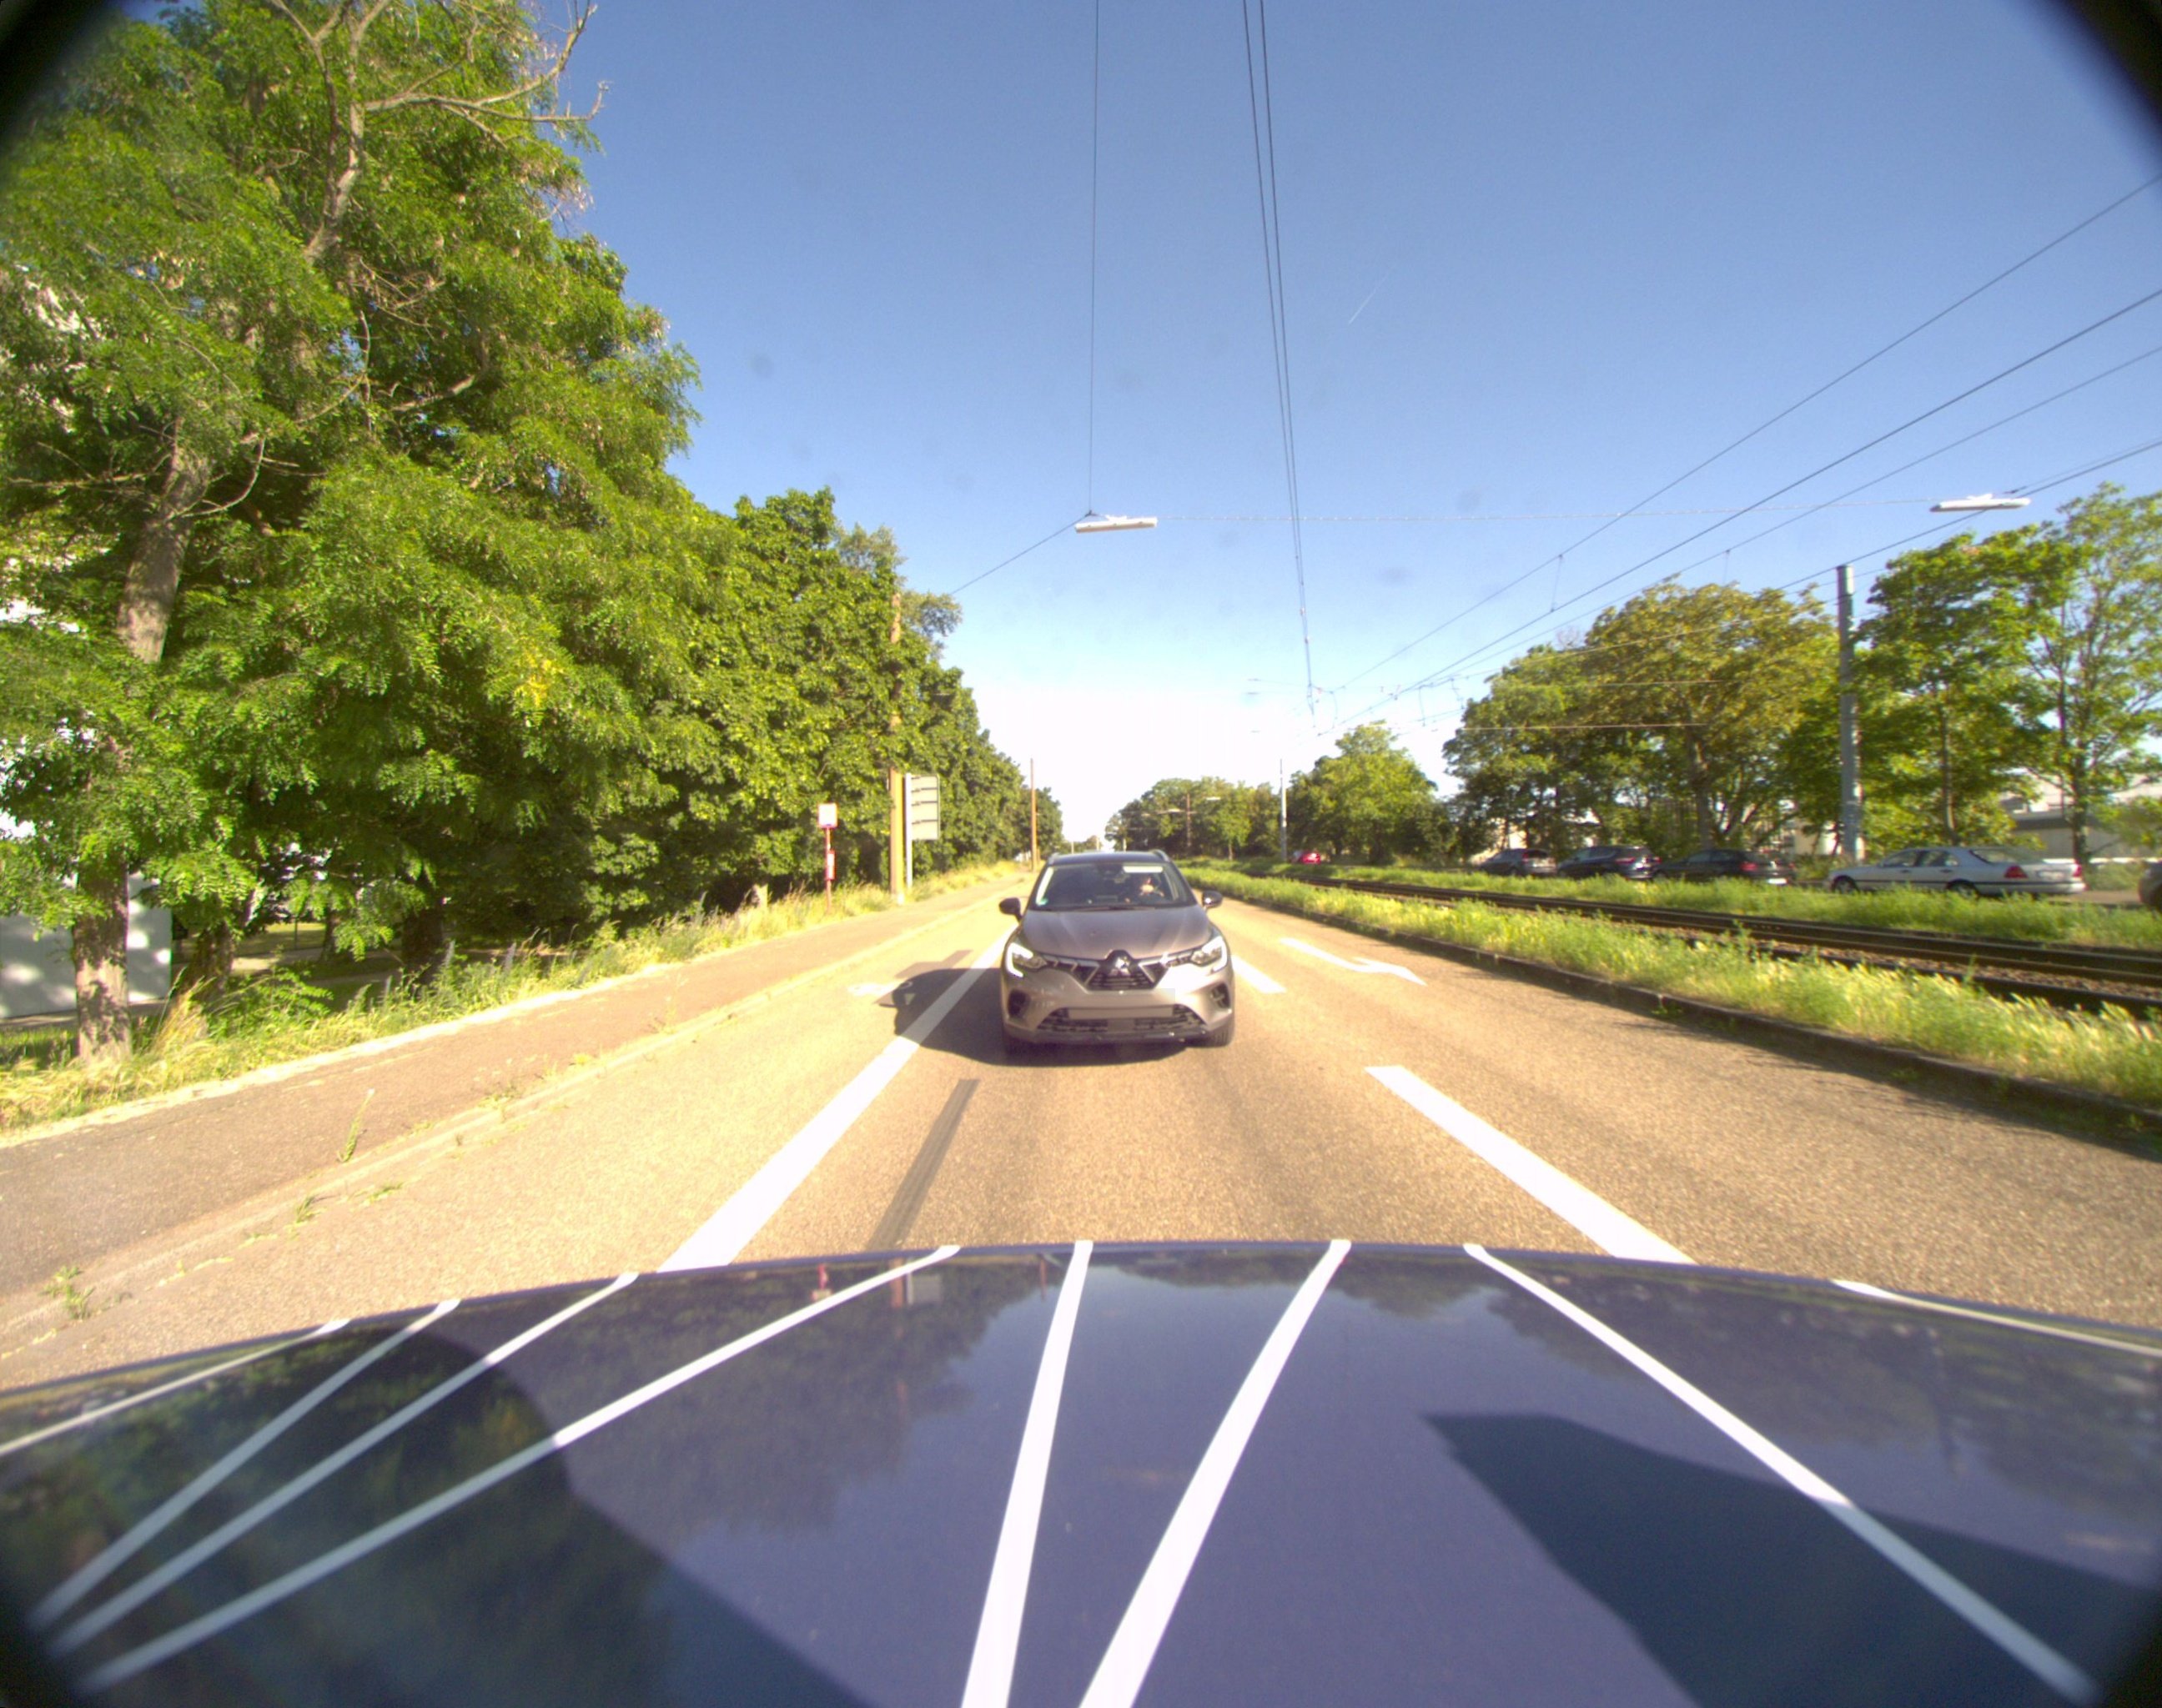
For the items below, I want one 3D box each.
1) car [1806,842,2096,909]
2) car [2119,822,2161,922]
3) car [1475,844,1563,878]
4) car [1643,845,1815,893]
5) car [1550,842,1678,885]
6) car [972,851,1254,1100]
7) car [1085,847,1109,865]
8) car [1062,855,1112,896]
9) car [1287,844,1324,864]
[{"bbox_3d":[21.384,0.477,19.065,1.933,1.429,4.695,-2,0,1],"label":"car"},{"bbox_3d":[21.271,0.301,12.400,2.202,1.880,4.792,-2,0,3],"label":"car"},{"bbox_3d":[21.463,0.323,37.435,1.740,1.486,4.327,-3,1,-1],"label":"car"},{"bbox_3d":[21.390,0.458,25.367,1.998,1.429,4.415,-2,0,1],"label":"car"},{"bbox_3d":[21.356,0.350,30.726,1.999,1.565,4.434,-2,0,-1],"label":"car"},{"bbox_3d":[0.224,0.811,7.276,1.822,1.589,4.413,-2,0,0],"label":"car"},{"bbox_3d":[1.465,0.173,71.255,1.999,1.577,3.999,-2,0,-1],"label":"car"},{"bbox_3d":[0.260,0.820,30.754,1.832,1.477,4.000,-2,0,1],"label":"car"},{"bbox_3d":[20.977,-0.014,71.111,2.009,1.692,4.466,-2,0,-1],"label":"car"}]
